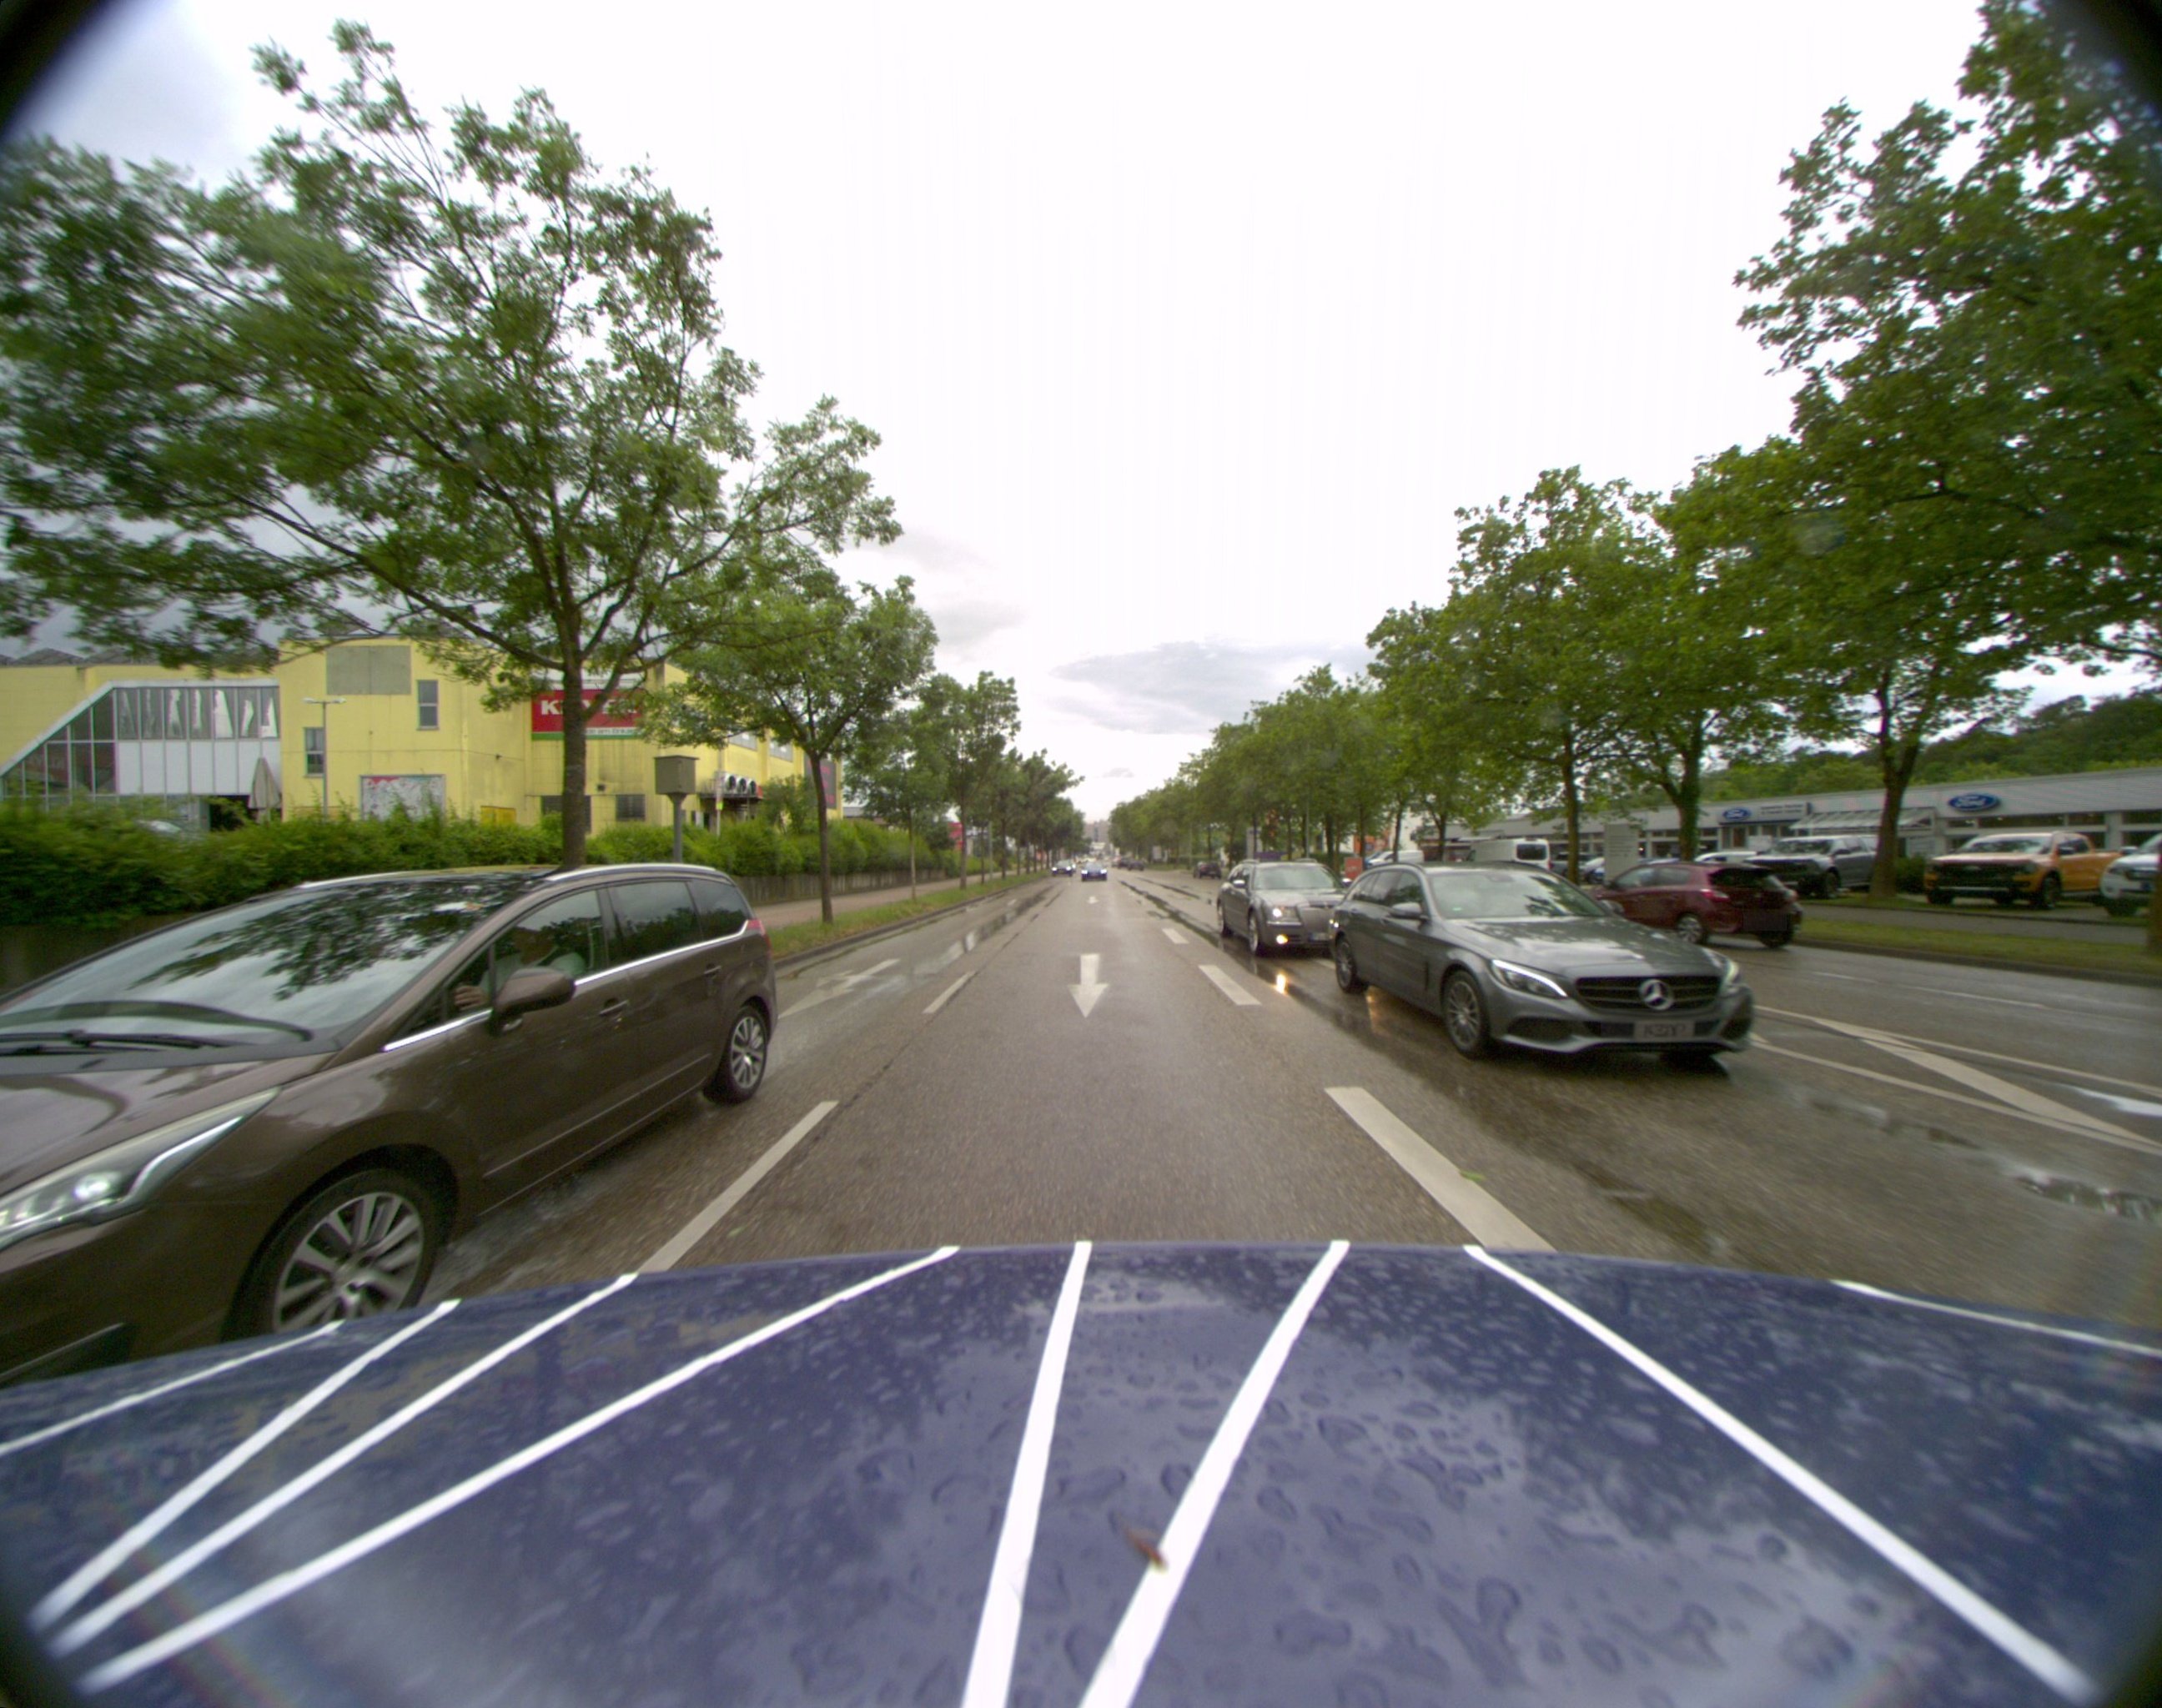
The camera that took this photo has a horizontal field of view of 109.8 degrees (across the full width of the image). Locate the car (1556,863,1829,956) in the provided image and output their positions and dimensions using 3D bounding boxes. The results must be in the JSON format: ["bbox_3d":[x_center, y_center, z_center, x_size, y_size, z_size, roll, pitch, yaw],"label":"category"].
[{"bbox_3d":[11.216,0.924,14.378,1.715,1.456,4.084,0,0,-4],"label":"car"}]

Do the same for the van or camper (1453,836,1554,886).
[{"bbox_3d":[22.886,0.375,41.550,1.998,2.456,6.401,-2,0,1],"label":"van or camper"}]

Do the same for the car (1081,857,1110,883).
[{"bbox_3d":[1.078,1.126,55.420,1.998,1.632,4.360,-2,1,1],"label":"car"}]

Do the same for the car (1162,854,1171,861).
[{"bbox_3d":[21.111,0.915,187.942,1.746,1.524,4.000,1,0,2],"label":"car"}]

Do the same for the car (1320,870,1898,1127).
[{"bbox_3d":[3.764,0.883,6.675,1.998,1.420,4.555,1,-1,2],"label":"car"}]

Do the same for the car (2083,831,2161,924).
[{"bbox_3d":[22.944,0.440,15.449,4.473,1.805,1.996,-1,0,-22],"label":"car"}]

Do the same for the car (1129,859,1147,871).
[{"bbox_3d":[7.002,1.368,94.080,1.671,1.453,4.179,0,0,-3],"label":"car"}]

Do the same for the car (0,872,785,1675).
[{"bbox_3d":[-3.144,0.961,3.456,1.731,1.615,4.471,-2,0,1],"label":"car"}]

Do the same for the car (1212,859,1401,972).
[{"bbox_3d":[3.602,0.881,13.161,1.912,1.569,4.880,0,0,1],"label":"car"}]

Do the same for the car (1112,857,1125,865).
[{"bbox_3d":[6.620,1.190,133.609,1.999,1.421,4.685,0,0,0],"label":"car"}]

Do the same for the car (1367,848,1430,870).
[{"bbox_3d":[29.951,0.488,71.833,5.058,2.002,2.129,-1,0,-1],"label":"car"}]

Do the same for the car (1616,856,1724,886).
[{"bbox_3d":[30.285,0.870,39.209,3.992,1.511,1.867,-1,0,15],"label":"car"}]

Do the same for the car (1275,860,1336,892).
[{"bbox_3d":[10.923,1.037,37.221,1.714,1.456,4.085,0,0,-1],"label":"car"}]

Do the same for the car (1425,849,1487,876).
[{"bbox_3d":[29.730,0.672,60.261,3.997,2.002,1.882,-1,0,-1],"label":"car"}]

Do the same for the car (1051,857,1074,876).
[{"bbox_3d":[-1.781,1.207,74.067,1.998,1.632,4.360,-2,1,1],"label":"car"}]

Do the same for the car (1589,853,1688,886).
[{"bbox_3d":[30.582,0.822,41.813,3.992,1.756,1.867,-1,0,16],"label":"car"}]

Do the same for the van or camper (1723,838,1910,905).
[{"bbox_3d":[22.196,0.468,22.913,5.306,1.810,2.262,0,0,-25],"label":"van or camper"}]

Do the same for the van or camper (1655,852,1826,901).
[{"bbox_3d":[25.162,0.832,29.231,4.635,1.774,1.842,-1,0,25],"label":"van or camper"}]

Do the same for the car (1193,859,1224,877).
[{"bbox_3d":[10.247,1.093,61.452,1.741,1.421,4.537,0,0,0],"label":"car"}]

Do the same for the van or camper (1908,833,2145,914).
[{"bbox_3d":[23.288,0.387,18.725,5.381,1.760,2.100,0,3,-22],"label":"van or camper"}]

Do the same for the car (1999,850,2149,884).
[{"bbox_3d":[43.564,0.562,33.403,3.996,1.431,1.865,-1,0,3],"label":"car"}]

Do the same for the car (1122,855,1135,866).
[{"bbox_3d":[6.997,0.979,111.976,1.767,1.522,3.858,1,0,1],"label":"car"}]

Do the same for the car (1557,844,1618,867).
[{"bbox_3d":[41.714,0.101,62.578,3.886,1.734,1.911,-3,1,-9],"label":"car"}]
